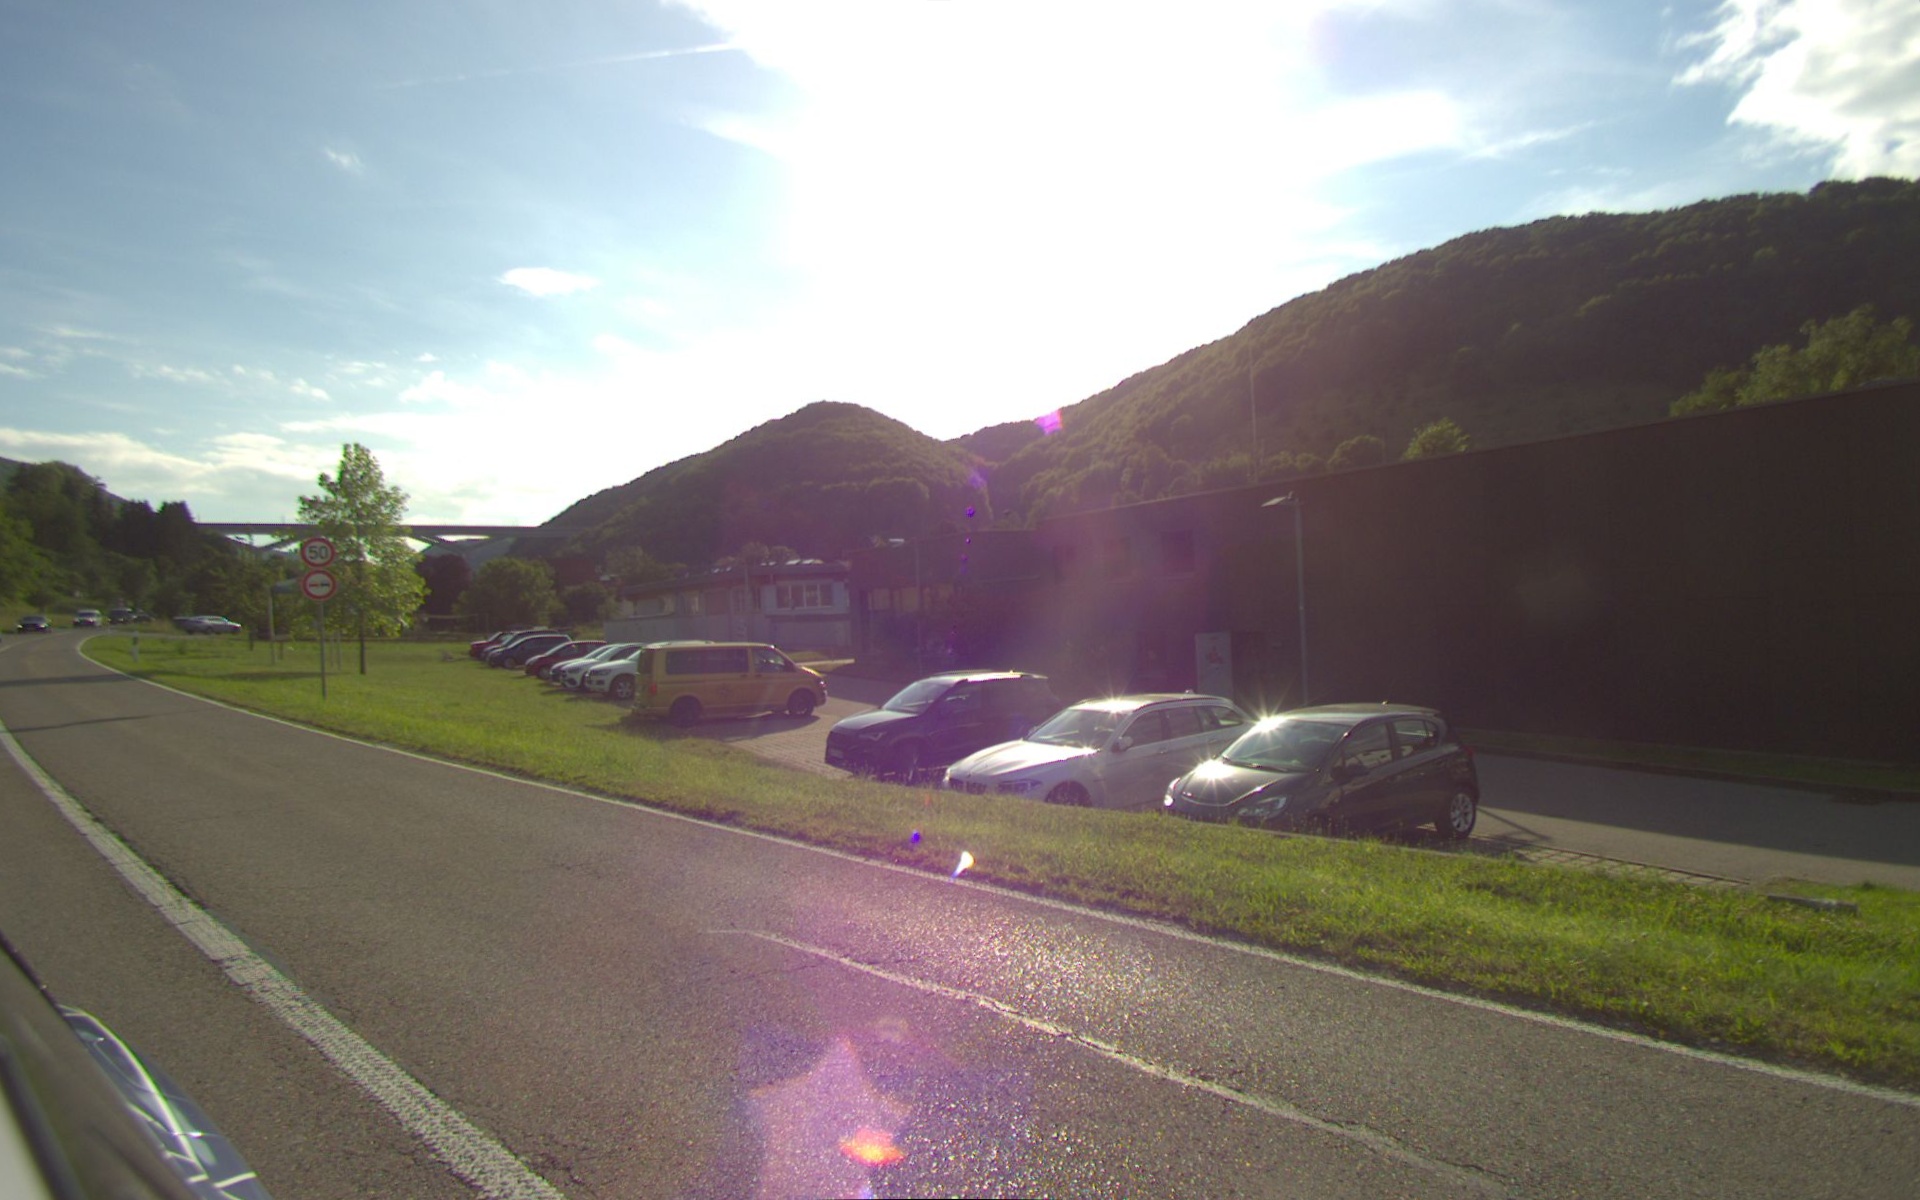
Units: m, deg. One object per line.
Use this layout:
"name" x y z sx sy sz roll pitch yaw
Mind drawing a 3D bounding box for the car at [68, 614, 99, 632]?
"car" -89.906 2.348 103.854 1.770 1.749 4.295 -1 -1 -33

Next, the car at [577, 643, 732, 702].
"car" -9.899 2.304 32.827 4.477 1.714 2.006 0 -2 -30

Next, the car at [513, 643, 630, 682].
"car" -16.431 2.596 42.811 4.370 1.463 2.006 0 -2 -30

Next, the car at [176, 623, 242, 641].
"car" -65.882 2.810 88.866 1.976 1.539 4.763 -1 -1 7

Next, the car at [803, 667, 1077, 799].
"car" -0.276 2.101 17.010 4.226 1.650 1.917 -2 -1 -35

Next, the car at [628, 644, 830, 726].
"car" -5.802 2.061 25.513 4.583 1.827 2.006 0 -2 -30

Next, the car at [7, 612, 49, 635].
"car" -74.585 1.910 81.070 1.882 1.698 4.010 0 -2 -34

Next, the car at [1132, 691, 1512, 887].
"car" 4.020 1.904 11.121 3.932 1.546 1.839 0 -2 -31

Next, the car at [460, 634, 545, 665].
"car" -27.143 2.920 60.036 4.371 1.733 2.006 0 -2 -31

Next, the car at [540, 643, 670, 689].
"car" -13.551 2.465 38.664 4.371 1.595 2.006 0 -2 -32

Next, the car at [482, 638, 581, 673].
"car" -21.786 2.780 51.432 4.371 1.595 2.006 -1 -1 -31

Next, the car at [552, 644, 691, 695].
"car" -11.923 2.408 35.697 4.370 1.599 2.006 0 -2 -30

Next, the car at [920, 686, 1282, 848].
"car" 1.922 2.007 13.185 4.577 1.508 1.918 1 -2 -34

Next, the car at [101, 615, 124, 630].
"car" -99.692 2.641 119.043 1.652 1.659 3.355 -1 -1 -34

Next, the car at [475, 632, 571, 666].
"car" -24.035 2.670 55.703 4.595 1.776 2.006 0 -2 -31

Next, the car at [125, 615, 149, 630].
"car" -107.324 2.928 131.942 1.966 1.730 4.011 -2 -2 -33
